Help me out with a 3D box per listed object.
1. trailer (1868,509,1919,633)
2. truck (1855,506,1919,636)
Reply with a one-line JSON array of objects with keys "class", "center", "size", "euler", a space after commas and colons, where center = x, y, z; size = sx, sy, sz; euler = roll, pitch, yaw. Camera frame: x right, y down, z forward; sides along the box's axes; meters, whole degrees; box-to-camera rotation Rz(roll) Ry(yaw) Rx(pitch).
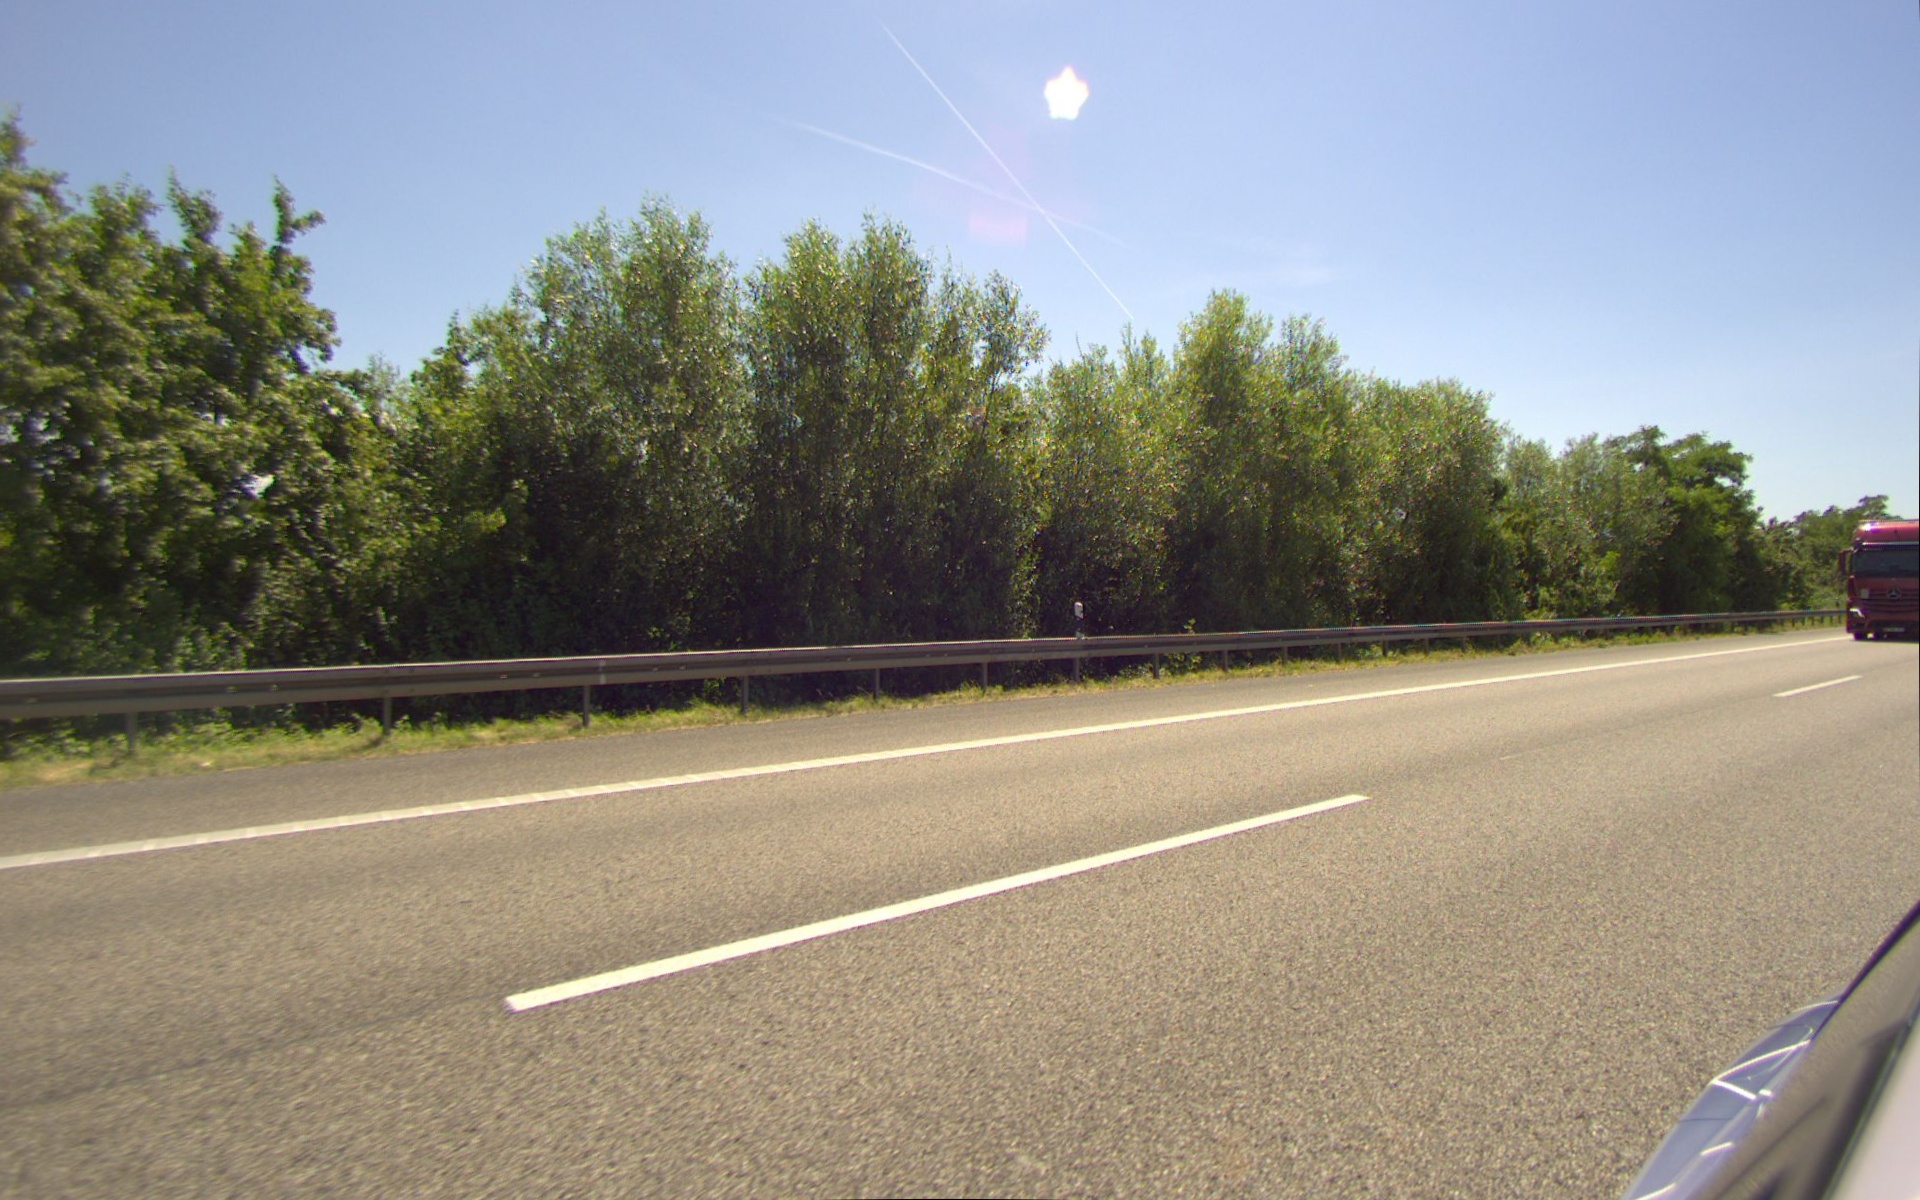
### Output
[{"class": "trailer", "center": [37.490, -0.999, 38.214], "size": [13.899, 4.138, 2.713], "euler": [0, 2, -40]}, {"class": "truck", "center": [32.987, -0.953, 34.441], "size": [6.841, 4.138, 2.713], "euler": [0, 2, -40]}]
